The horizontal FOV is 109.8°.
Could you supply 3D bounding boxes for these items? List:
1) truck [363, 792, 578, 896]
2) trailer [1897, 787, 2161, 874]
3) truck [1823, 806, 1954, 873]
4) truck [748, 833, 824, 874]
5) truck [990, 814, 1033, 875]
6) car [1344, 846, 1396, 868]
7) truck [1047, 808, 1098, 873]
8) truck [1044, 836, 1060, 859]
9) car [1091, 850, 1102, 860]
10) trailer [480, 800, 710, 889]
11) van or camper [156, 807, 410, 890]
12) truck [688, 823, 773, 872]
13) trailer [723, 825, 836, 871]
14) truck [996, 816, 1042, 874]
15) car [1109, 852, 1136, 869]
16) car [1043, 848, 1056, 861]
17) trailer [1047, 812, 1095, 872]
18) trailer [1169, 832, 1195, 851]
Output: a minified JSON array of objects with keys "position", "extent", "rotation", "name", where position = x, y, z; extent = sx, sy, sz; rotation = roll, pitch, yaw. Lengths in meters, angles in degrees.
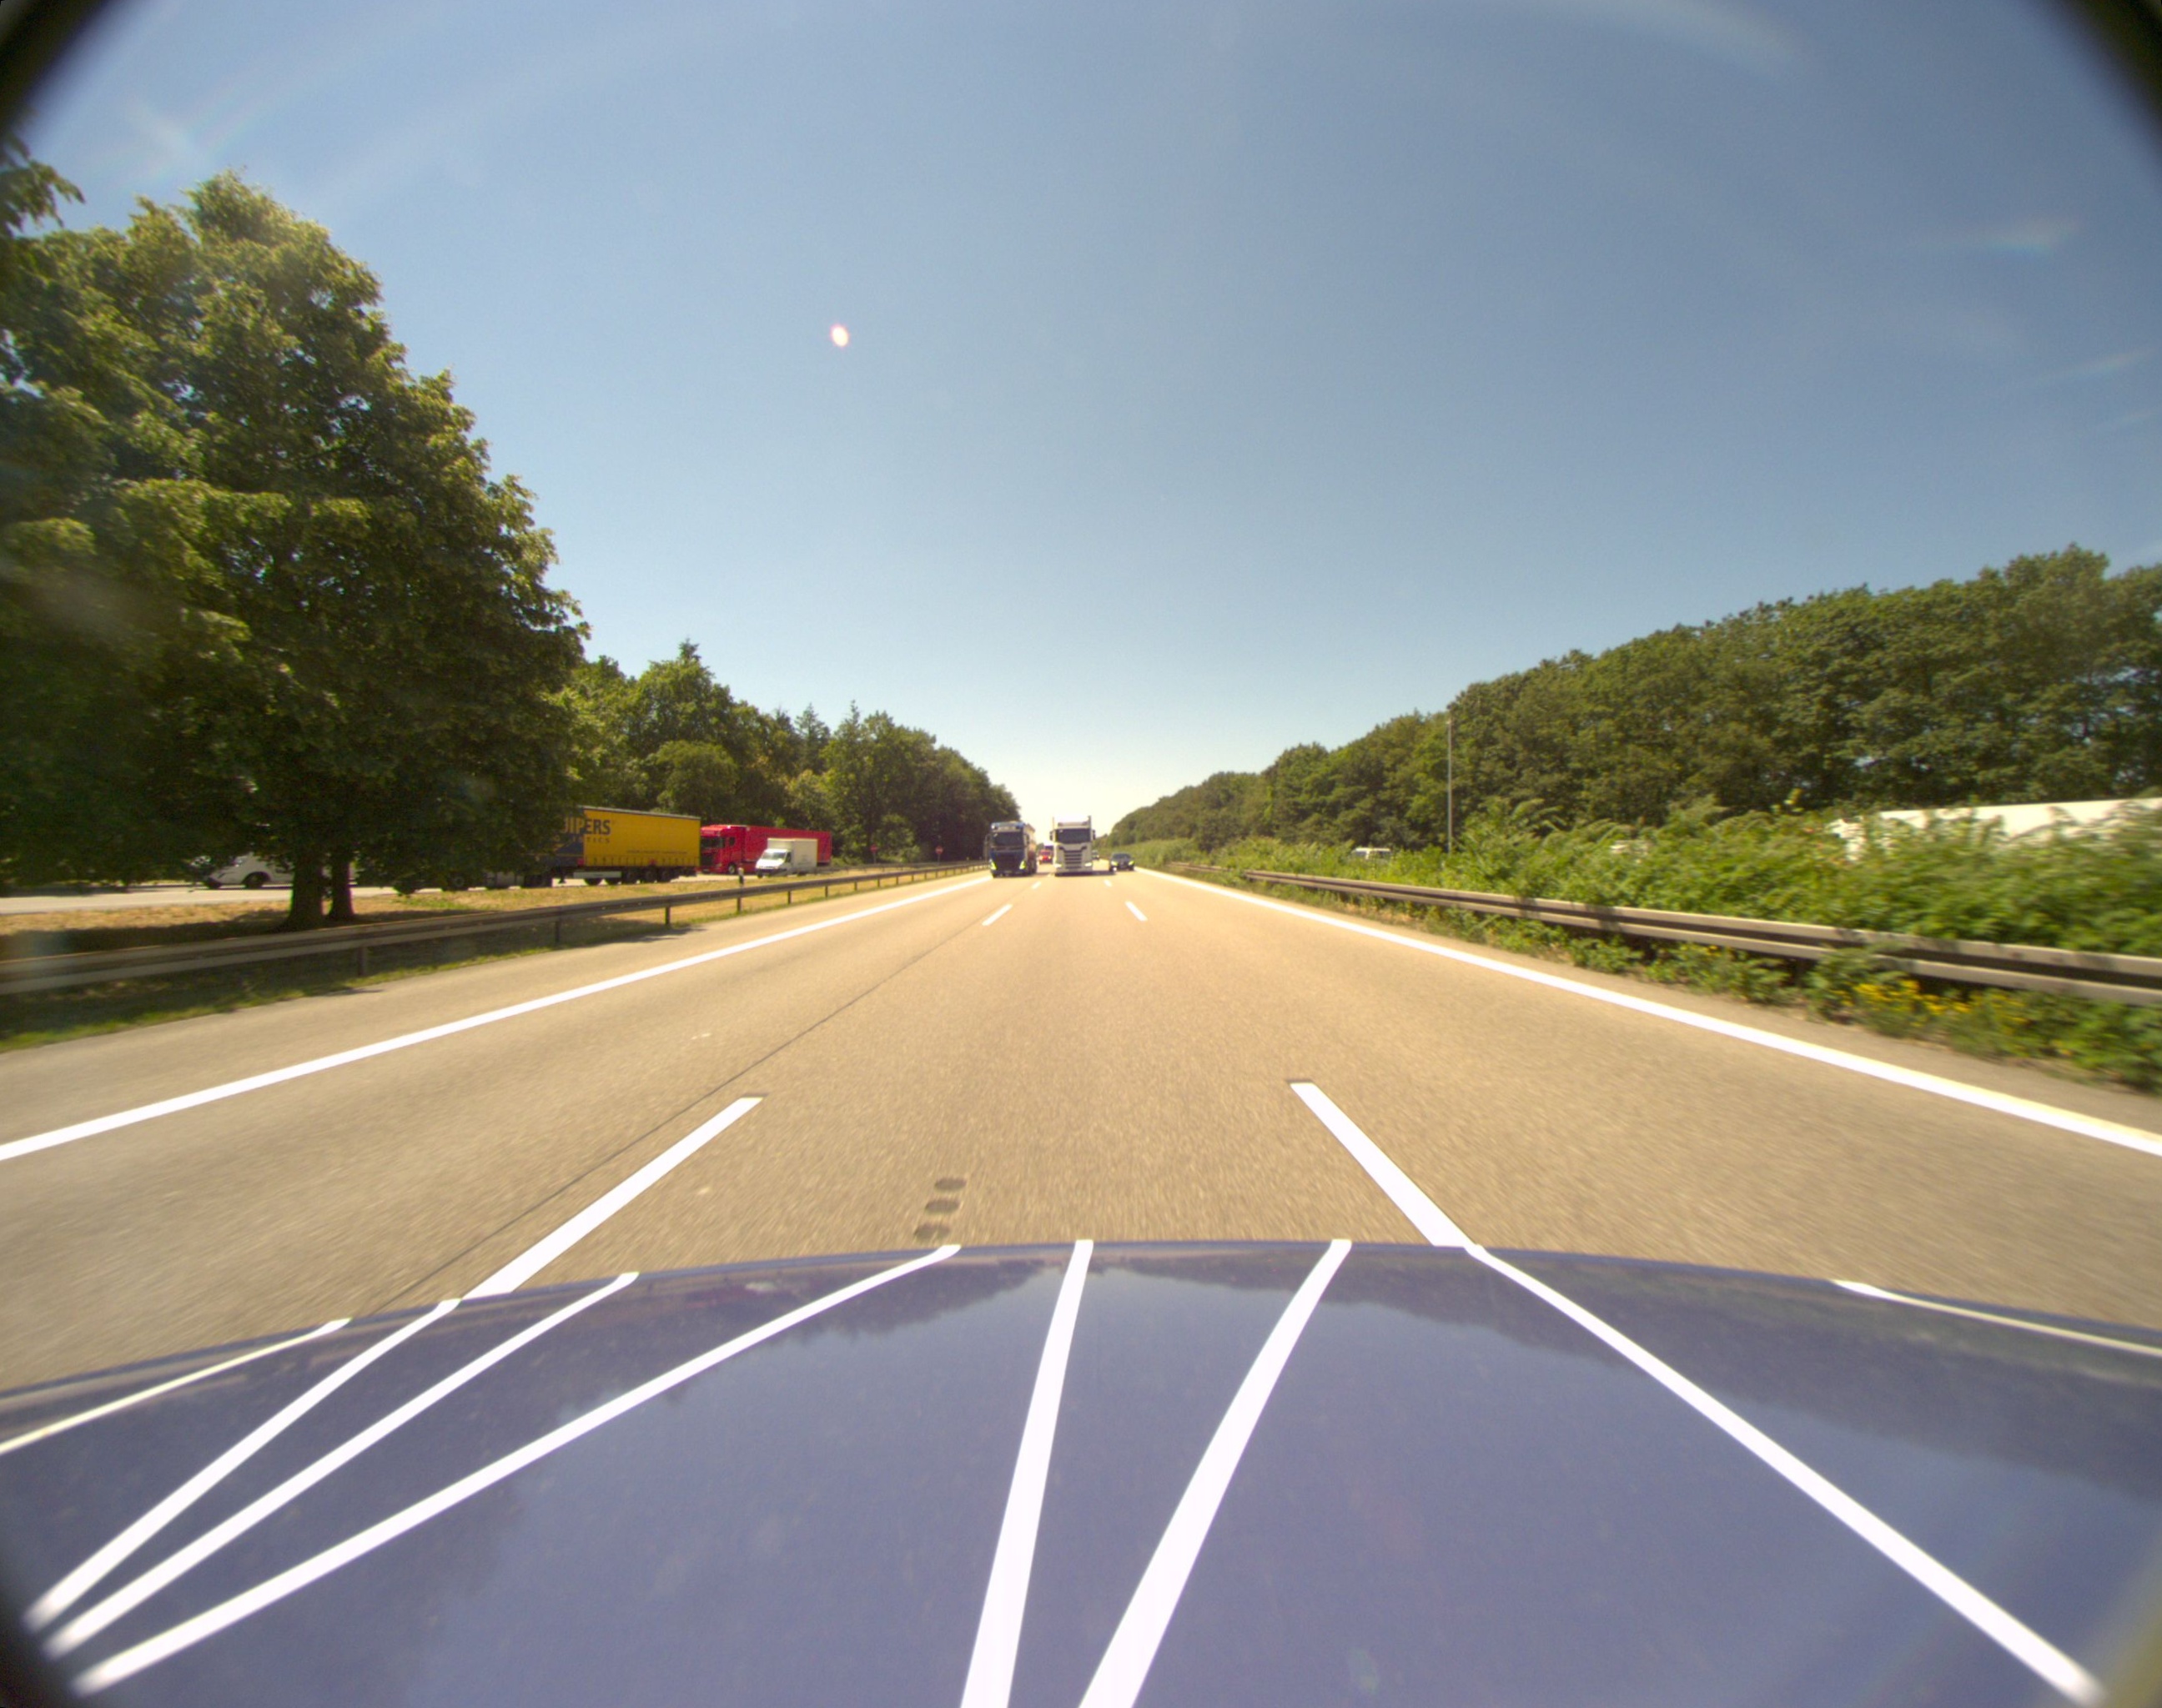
[{"position":[-25.547,-0.411,32.341],"extent":[3.190,3.912,6.620],"rotation":[-1,1,8],"name":"truck"},{"position":[49.506,-1.081,37.829],"extent":[2.619,3.948,12.591],"rotation":[0,0,-11],"name":"trailer"},{"position":[48.079,-0.834,45.408],"extent":[2.619,3.746,4.686],"rotation":[0,1,-11],"name":"truck"},{"position":[-22.352,-0.072,58.084],"extent":[2.474,2.929,7.659],"rotation":[-1,1,2],"name":"truck"},{"position":[-4.724,-0.643,52.329],"extent":[2.455,4.014,4.071],"rotation":[-2,1,0],"name":"truck"},{"position":[19.635,0.179,51.743],"extent":[1.846,1.456,4.271],"rotation":[0,0,-1],"name":"car"},{"position":[-0.631,-0.866,51.080],"extent":[3.237,4.133,4.558],"rotation":[-1,0,-2],"name":"truck"},{"position":[-5.429,-1.216,142.699],"extent":[2.798,4.180,4.997],"rotation":[0,1,-5],"name":"truck"},{"position":[2.662,0.180,134.230],"extent":[1.887,1.634,4.000],"rotation":[-1,0,0],"name":"car"},{"position":[-24.501,-0.471,39.611],"extent":[3.190,3.912,11.556],"rotation":[-1,1,8],"name":"trailer"},{"position":[-33.989,-0.226,32.871],"extent":[3.004,3.216,7.005],"rotation":[0,0,10],"name":"van or camper"},{"position":[-28.646,-0.511,62.409],"extent":[2.984,3.858,6.423],"rotation":[0,0,13],"name":"truck"},{"position":[-27.125,-0.554,69.587],"extent":[2.984,3.855,12.898],"rotation":[0,0,11],"name":"trailer"},{"position":[-4.665,-0.694,58.955],"extent":[2.449,4.020,10.540],"rotation":[-2,1,1],"name":"truck"},{"position":[3.261,0.493,60.072],"extent":[1.887,1.341,4.467],"rotation":[-1,0,1],"name":"car"},{"position":[-4.482,0.040,108.549],"extent":[1.715,1.669,4.000],"rotation":[-2,0,1],"name":"car"},{"position":[-0.881,-0.862,58.948],"extent":[3.232,4.119,12.348],"rotation":[-1,0,-2],"name":"trailer"},{"position":[19.353,-2.338,146.493],"extent":[2.971,3.549,13.430],"rotation":[-2,0,-1],"name":"trailer"}]
